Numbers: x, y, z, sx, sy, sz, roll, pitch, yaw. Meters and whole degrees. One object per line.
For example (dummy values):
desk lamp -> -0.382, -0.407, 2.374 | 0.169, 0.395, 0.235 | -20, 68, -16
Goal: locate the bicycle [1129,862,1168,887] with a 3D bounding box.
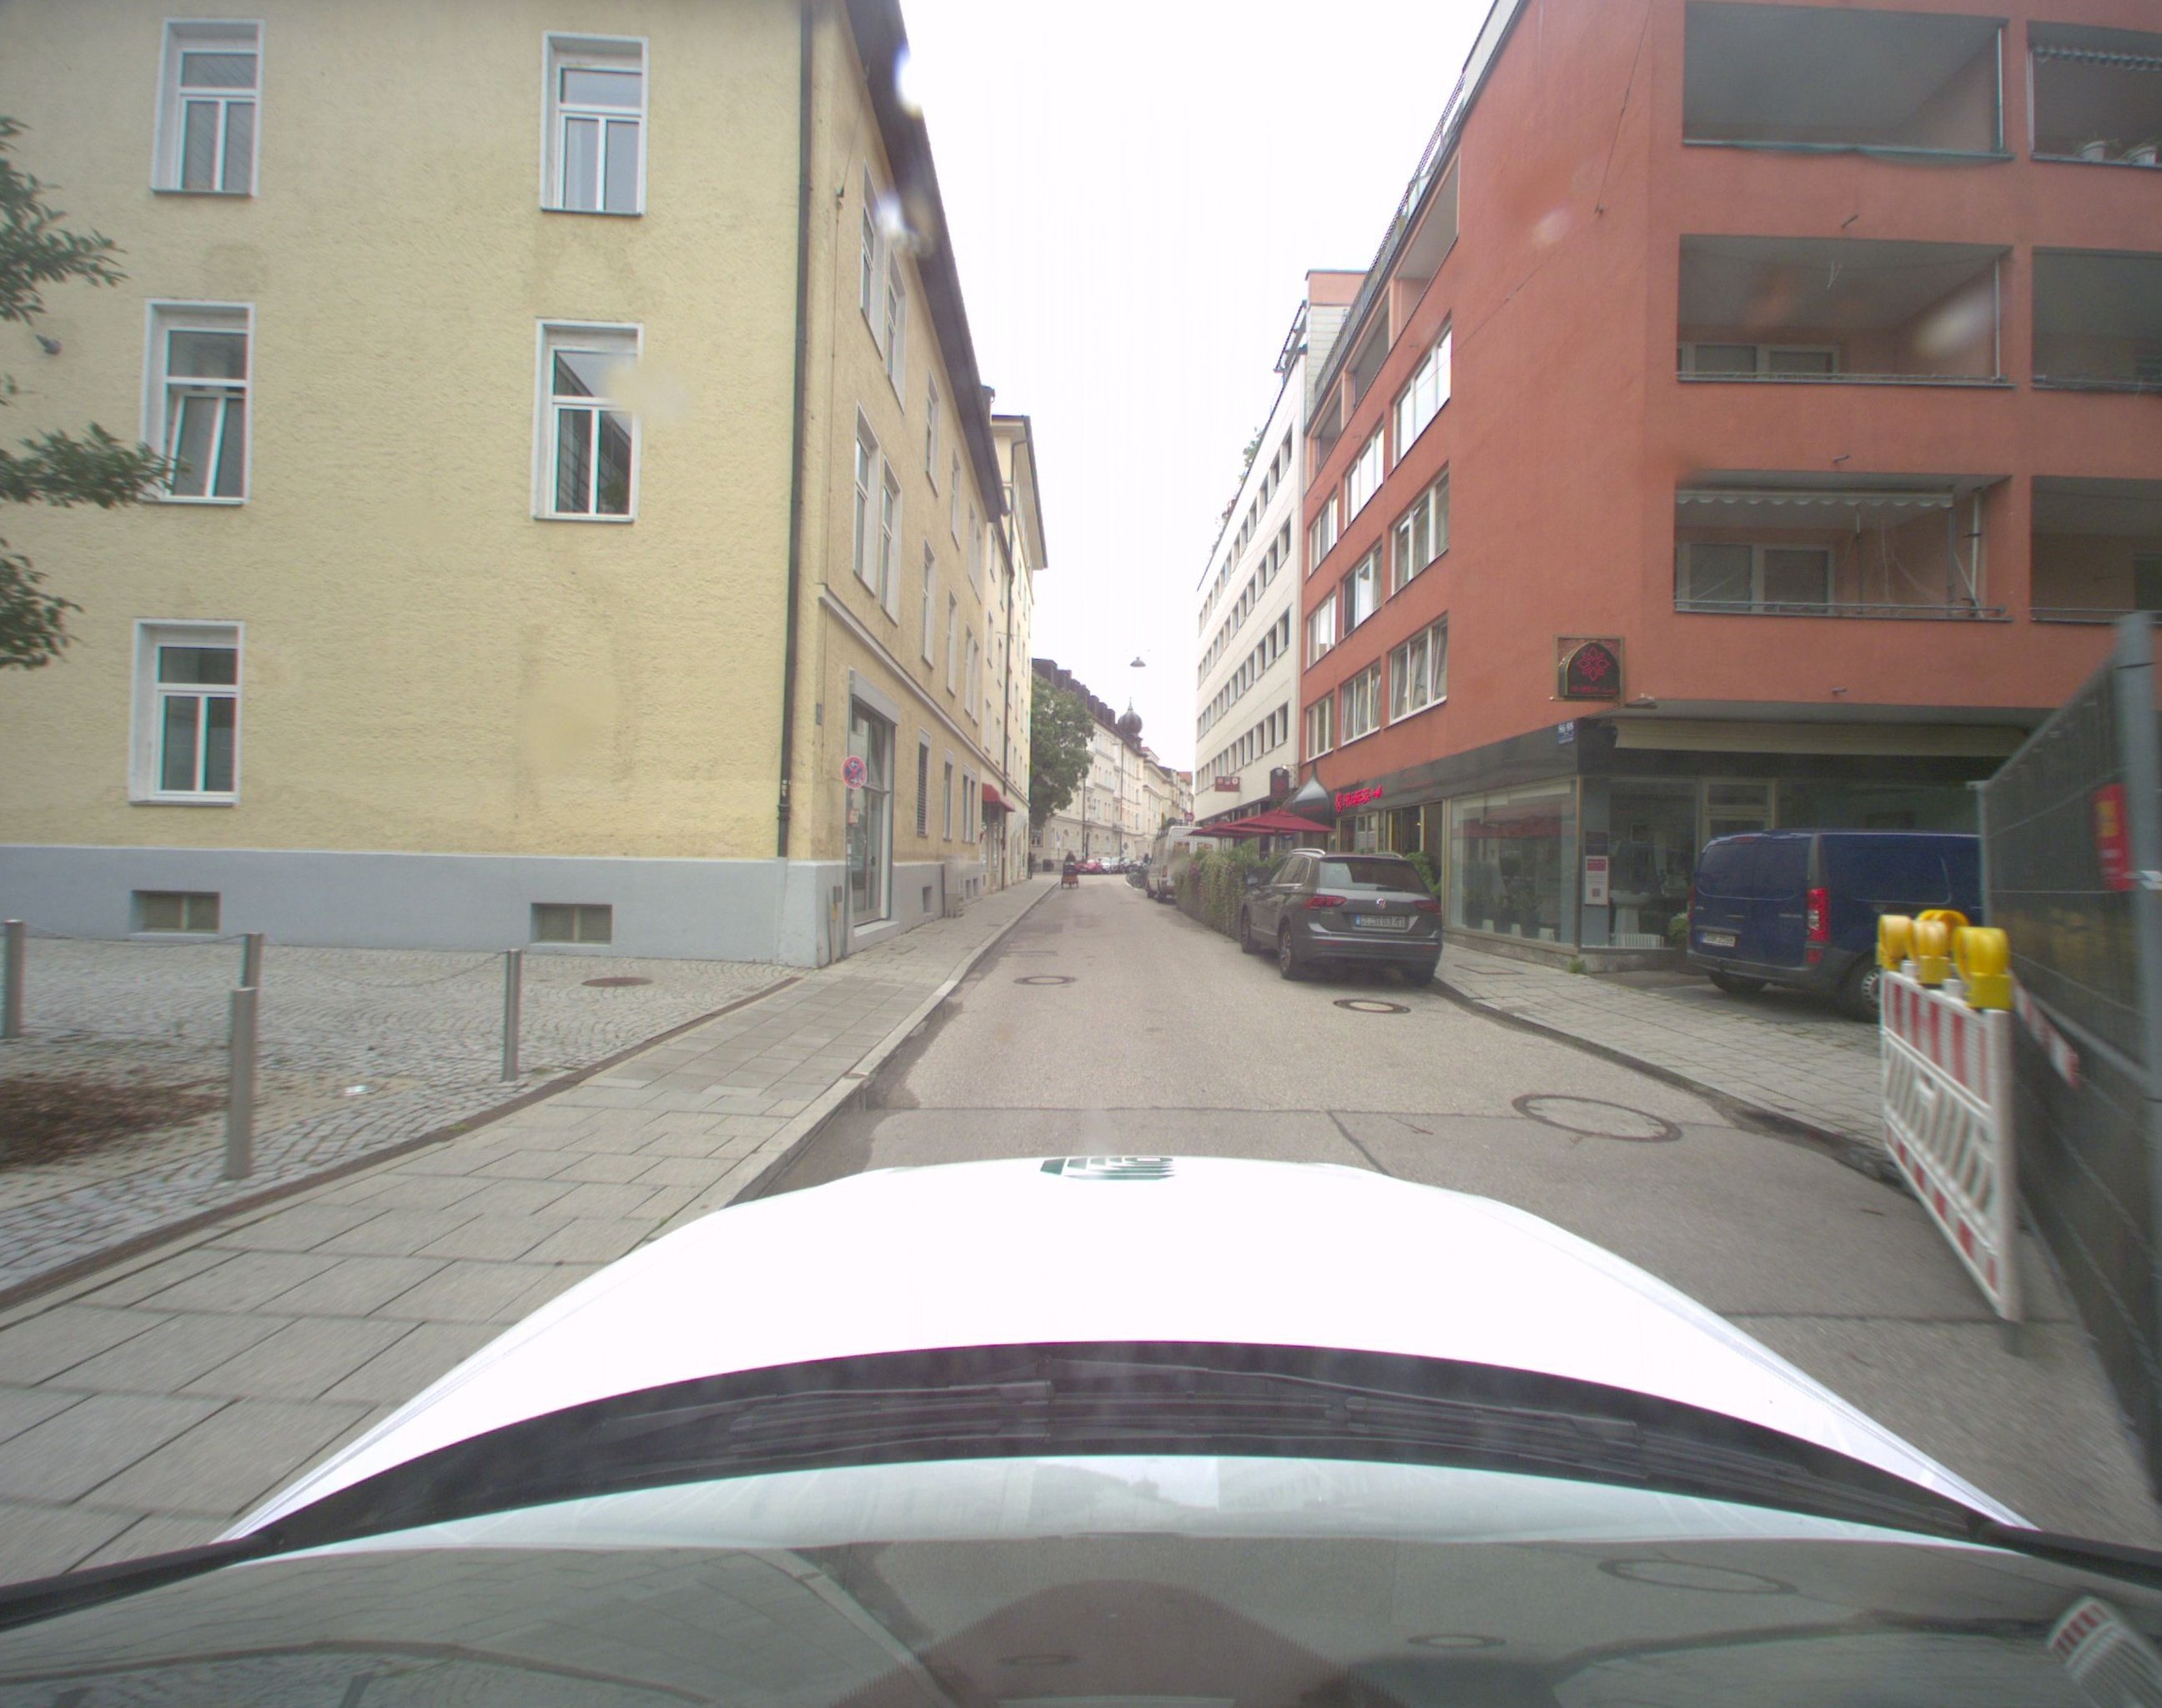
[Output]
bicycle -> 3.393, 1.004, 40.790 | 1.869, 1.204, 0.488 | 1, 1, -2

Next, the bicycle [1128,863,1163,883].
bicycle -> 3.572, 1.058, 45.215 | 1.869, 1.080, 0.408 | 1, 1, -4

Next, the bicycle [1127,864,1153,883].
bicycle -> 3.443, 1.117, 47.688 | 1.450, 1.069, 0.462 | 2, 0, -8

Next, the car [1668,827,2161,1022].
car -> 8.777, 0.640, 8.212 | 4.448, 1.720, 1.840 | 0, 0, -1

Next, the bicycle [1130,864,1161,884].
bicycle -> 3.685, 1.129, 46.454 | 1.736, 1.080, 0.451 | 1, 1, -4

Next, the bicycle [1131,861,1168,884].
bicycle -> 3.610, 0.960, 42.804 | 1.889, 1.170, 0.565 | 1, 0, -3

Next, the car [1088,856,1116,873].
car -> 1.943, 0.926, 73.103 | 1.982, 1.473, 4.228 | 1, 0, 9

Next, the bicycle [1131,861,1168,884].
bicycle -> 3.559, 0.952, 42.205 | 1.869, 1.204, 0.579 | 0, 0, -2

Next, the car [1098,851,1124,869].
car -> 2.938, 0.587, 78.480 | 1.931, 1.702, 4.011 | 2, 0, 10

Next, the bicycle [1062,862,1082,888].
bicycle -> -0.422, 1.003, 39.713 | 0.928, 1.257, 2.414 | 0, -1, 1

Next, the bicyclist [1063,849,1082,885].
bicyclist -> -0.415, 0.633, 40.068 | 0.923, 1.721, 1.099 | 0, 0, 1

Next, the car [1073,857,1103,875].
car -> 0.631, 0.987, 68.366 | 1.719, 1.378, 4.240 | 1, 0, 12

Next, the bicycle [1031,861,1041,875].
bicycle -> -3.752, 1.138, 67.662 | 0.491, 1.052, 1.830 | 1, 2, 6

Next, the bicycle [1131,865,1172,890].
bicycle -> 3.413, 1.136, 39.446 | 1.869, 1.079, 0.488 | 3, 1, -2

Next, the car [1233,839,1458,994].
car -> 3.420, 0.722, 11.480 | 1.817, 1.710, 4.390 | 2, 0, 1

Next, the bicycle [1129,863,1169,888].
bicycle -> 3.361, 1.055, 40.269 | 1.869, 1.108, 0.488 | 3, 1, -2

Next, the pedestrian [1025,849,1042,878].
pedestrian -> -2.787, 0.566, 47.886 | 0.655, 1.632, 0.699 | 1, -1, 35

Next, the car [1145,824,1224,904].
car -> 3.537, 0.322, 28.994 | 1.914, 2.506, 5.995 | 2, 0, -1

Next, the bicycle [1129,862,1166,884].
bicycle -> 3.538, 1.023, 43.376 | 1.869, 1.095, 0.439 | 1, 1, -4

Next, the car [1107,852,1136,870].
car -> 4.139, 0.748, 83.134 | 1.979, 1.738, 4.539 | 2, 0, 15
